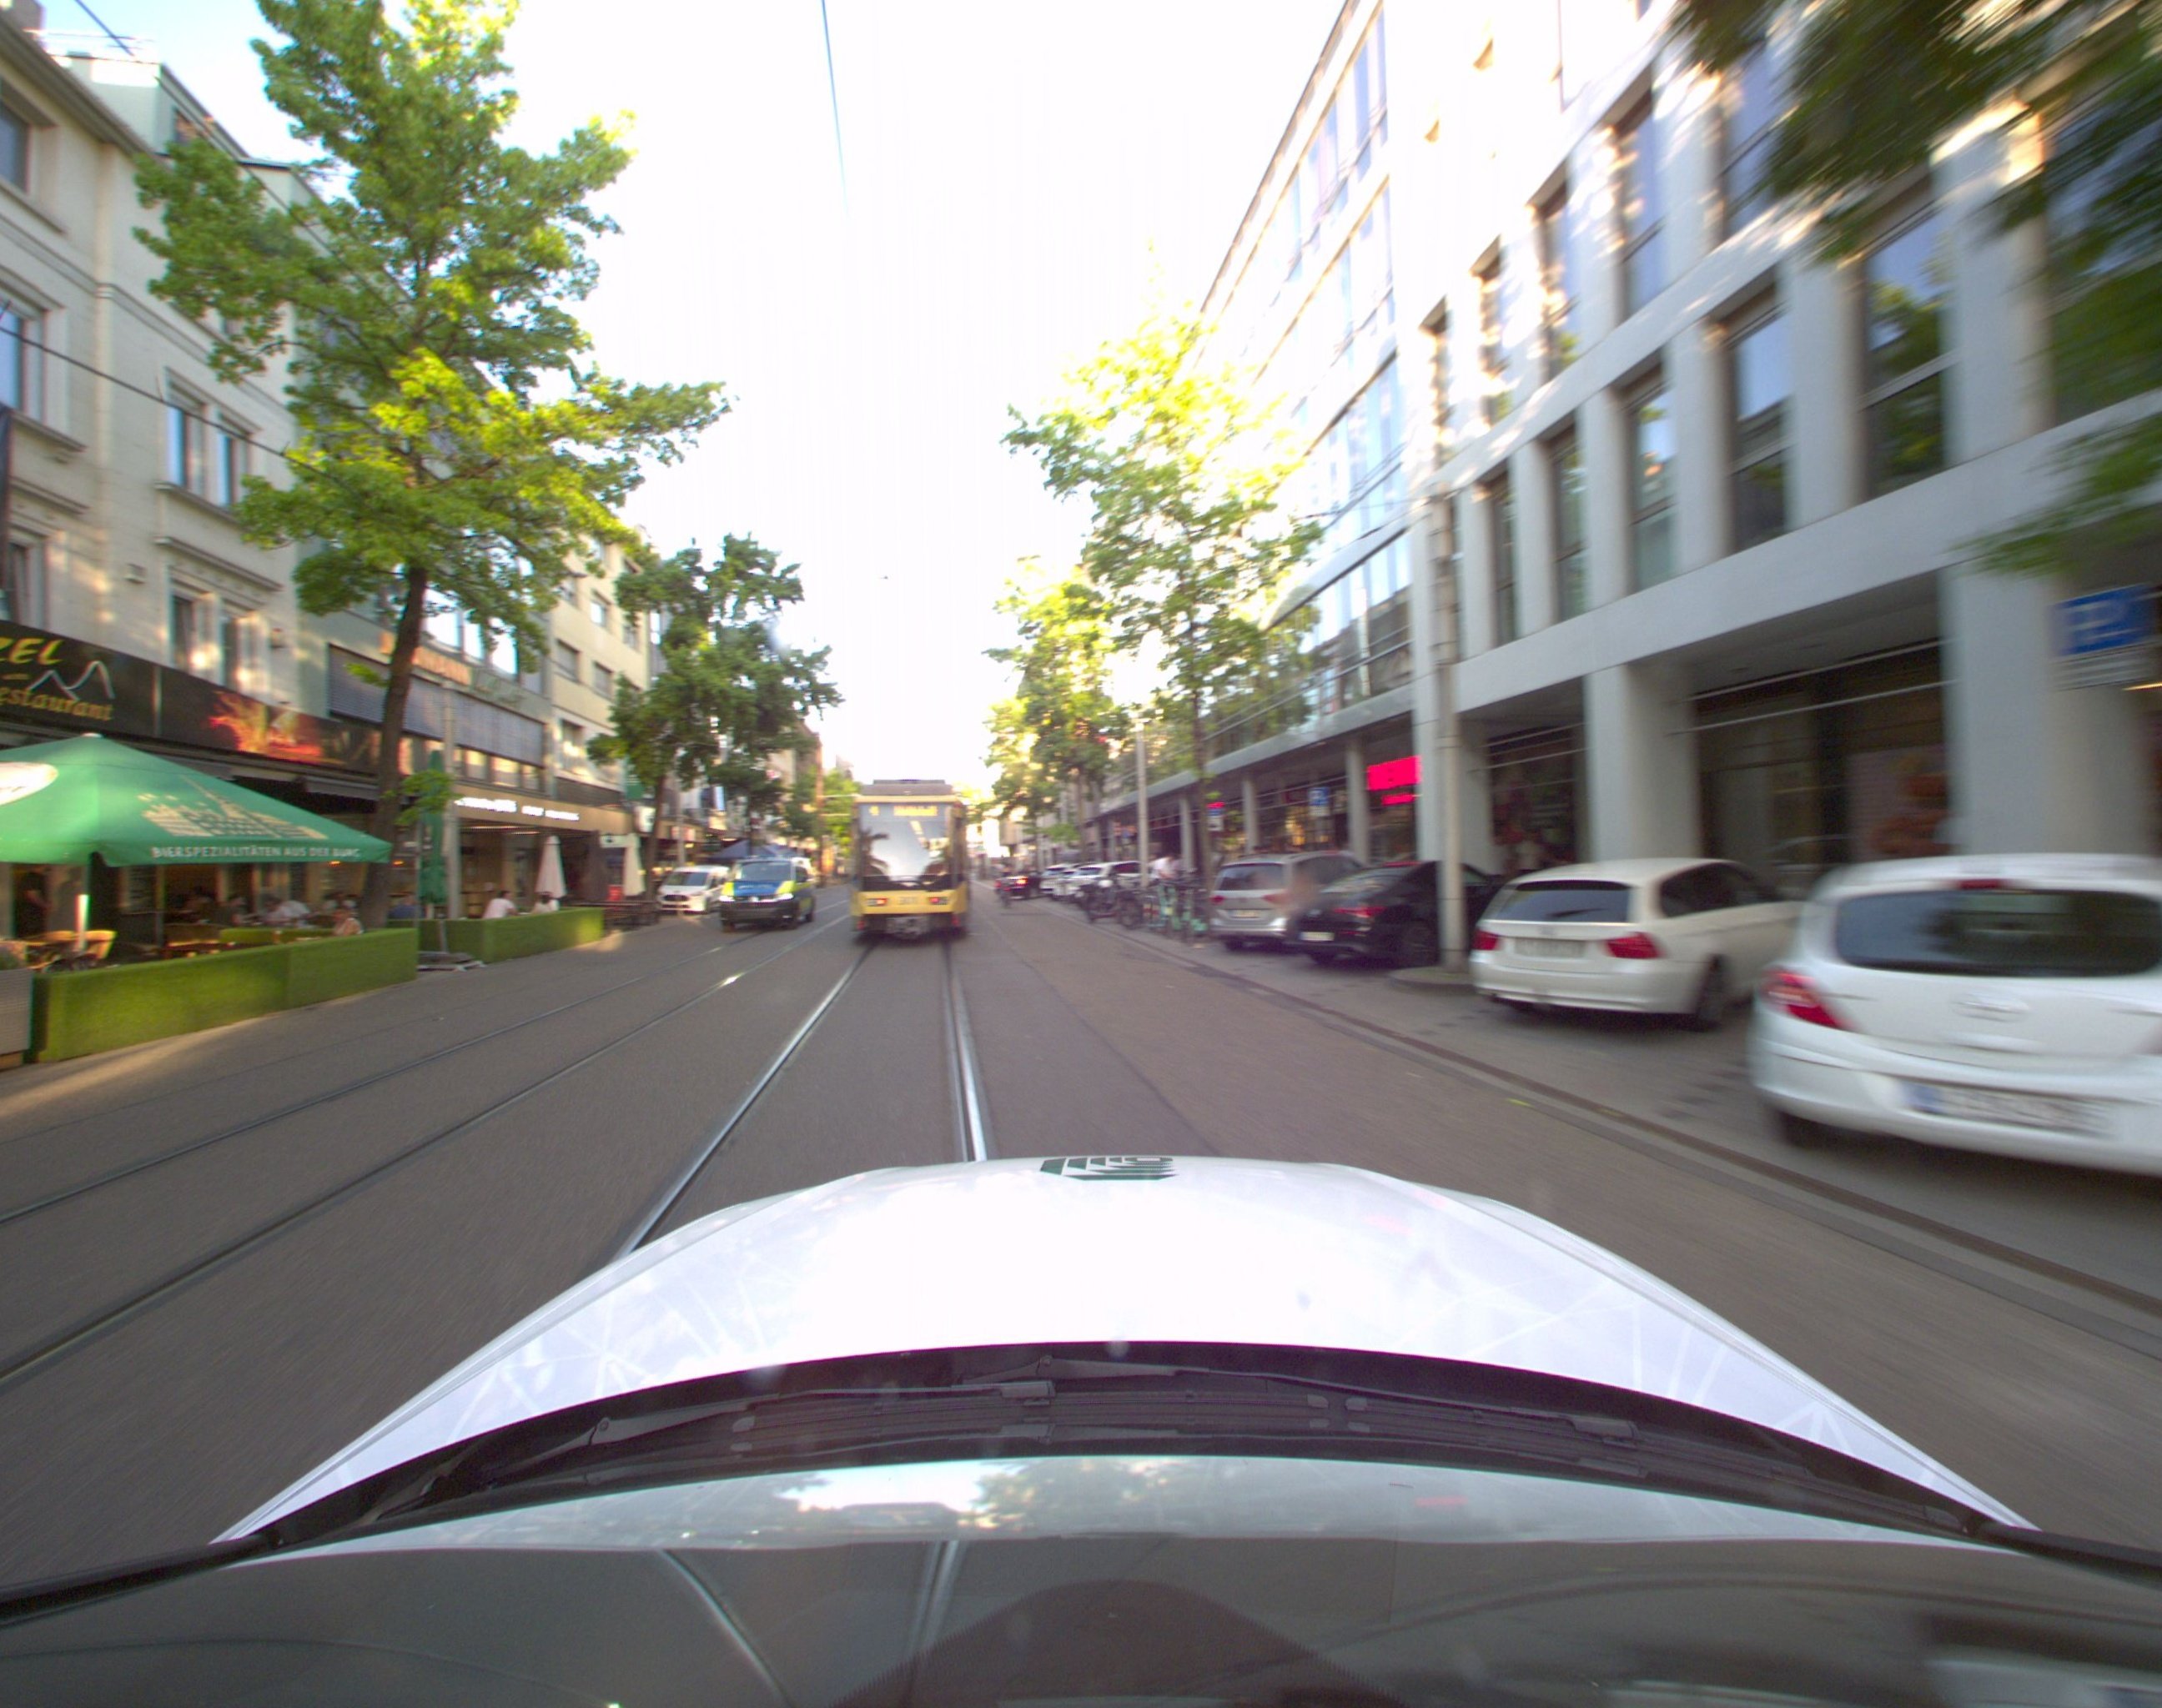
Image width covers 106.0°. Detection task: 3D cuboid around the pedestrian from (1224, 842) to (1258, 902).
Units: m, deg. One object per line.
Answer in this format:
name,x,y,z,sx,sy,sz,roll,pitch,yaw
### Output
pedestrian,4.954,0.555,25.215,0.782,1.812,0.664,-4,0,24

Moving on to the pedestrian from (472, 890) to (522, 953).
pedestrian,-12.983,1.492,18.119,0.644,1.346,0.728,-1,-2,-9

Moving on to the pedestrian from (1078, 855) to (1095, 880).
pedestrian,0.410,1.074,64.043,1.054,1.876,0.925,-4,1,-11

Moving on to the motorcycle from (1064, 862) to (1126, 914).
motorcycle,0.476,1.039,25.714,0.786,1.471,2.220,-3,1,35

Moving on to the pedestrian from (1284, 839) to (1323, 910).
pedestrian,5.681,0.520,20.855,0.727,1.754,0.717,-4,0,3

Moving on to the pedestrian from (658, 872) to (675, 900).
pedestrian,-21.109,1.630,41.501,0.609,1.434,0.510,1,-2,-8

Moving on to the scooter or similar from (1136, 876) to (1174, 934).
scooter or similar,1.644,1.114,18.272,0.482,1.222,1.210,-4,-1,-10

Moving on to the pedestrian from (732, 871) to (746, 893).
pedestrian,-19.622,1.607,46.704,0.603,1.256,0.559,1,-2,-9

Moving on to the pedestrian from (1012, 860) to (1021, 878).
pedestrian,-6.379,1.519,80.758,0.748,1.782,0.888,-1,-2,-8

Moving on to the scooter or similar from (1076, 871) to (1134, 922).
scooter or similar,0.641,1.141,22.105,1.375,1.304,0.701,-3,0,41

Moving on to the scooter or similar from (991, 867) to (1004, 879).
scooter or similar,-9.546,2.159,92.886,1.386,1.210,0.511,-2,-1,-25

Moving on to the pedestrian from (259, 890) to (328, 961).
pedestrian,-16.198,1.453,16.773,0.690,1.378,0.763,-1,-2,-10

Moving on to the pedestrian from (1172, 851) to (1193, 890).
pedestrian,4.475,0.728,35.897,0.662,1.699,0.802,-1,-2,-11

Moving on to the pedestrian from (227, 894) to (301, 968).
pedestrian,-15.458,1.440,15.435,0.654,1.331,0.763,-1,-2,-10

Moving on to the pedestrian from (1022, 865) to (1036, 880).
pedestrian,-4.821,1.724,75.648,1.112,1.328,0.923,-4,0,-10

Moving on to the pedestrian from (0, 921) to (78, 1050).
pedestrian,-10.870,1.329,8.304,0.585,1.236,0.542,-1,-1,-9

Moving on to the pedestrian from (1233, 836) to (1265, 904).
pedestrian,4.629,0.425,22.374,0.652,1.812,0.720,-4,0,19

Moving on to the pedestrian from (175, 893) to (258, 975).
pedestrian,-15.226,1.389,14.364,0.654,1.378,0.763,-1,-2,-10

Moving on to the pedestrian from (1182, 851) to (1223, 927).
pedestrian,2.725,0.762,18.271,0.785,1.625,0.771,-4,0,8

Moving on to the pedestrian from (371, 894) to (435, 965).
pedestrian,-12.704,1.393,15.271,0.708,1.265,0.598,-1,-2,-10

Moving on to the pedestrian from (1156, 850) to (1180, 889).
pedestrian,4.198,0.734,39.342,0.878,1.782,0.752,-4,0,-12

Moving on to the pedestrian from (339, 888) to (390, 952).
pedestrian,-15.909,1.447,18.100,0.605,1.378,0.646,-1,-2,-10

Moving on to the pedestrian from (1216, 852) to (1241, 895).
pedestrian,5.482,0.735,30.221,0.680,1.548,0.662,-1,-2,-12

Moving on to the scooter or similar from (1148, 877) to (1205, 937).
scooter or similar,2.059,1.119,17.506,0.492,1.182,1.341,-3,-1,42

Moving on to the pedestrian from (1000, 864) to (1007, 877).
pedestrian,-9.921,2.114,103.806,0.701,1.684,0.678,-4,0,-11

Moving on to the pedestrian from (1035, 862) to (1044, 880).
pedestrian,-3.796,1.572,74.480,0.701,1.637,0.643,-4,0,-11

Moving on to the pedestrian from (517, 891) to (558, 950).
pedestrian,-12.188,1.476,18.281,0.551,1.266,0.639,-1,-2,-10

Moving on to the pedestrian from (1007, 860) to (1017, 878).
pedestrian,-7.152,1.574,83.867,0.889,1.782,0.748,-1,-2,-13

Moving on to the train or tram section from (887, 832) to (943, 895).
train or tram section,-10.398,0.636,51.219,3.046,3.524,10.488,-1,-1,-11

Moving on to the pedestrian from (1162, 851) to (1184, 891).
pedestrian,3.959,0.747,35.046,0.680,1.699,0.802,-1,-2,-11

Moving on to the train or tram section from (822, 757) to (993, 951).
train or tram section,-4.212,0.074,20.238,3.018,3.524,10.328,-2,-1,-11

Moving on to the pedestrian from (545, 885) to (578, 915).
pedestrian,-19.457,1.720,30.538,0.778,1.095,0.726,1,-2,-11

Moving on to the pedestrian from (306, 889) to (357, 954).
pedestrian,-16.597,1.476,18.046,0.537,1.378,0.676,-1,-2,-10

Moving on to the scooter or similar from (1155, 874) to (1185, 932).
scooter or similar,2.029,1.096,18.642,0.565,1.205,1.283,-4,0,4

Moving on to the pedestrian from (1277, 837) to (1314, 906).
pedestrian,5.804,0.464,22.086,0.657,1.812,0.715,-4,0,-6

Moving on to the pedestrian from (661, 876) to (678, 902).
pedestrian,-20.218,1.706,40.025,0.511,1.242,0.658,1,-2,-11

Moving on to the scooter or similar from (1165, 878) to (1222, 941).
scooter or similar,2.329,1.121,16.718,0.572,1.150,1.410,-3,0,33

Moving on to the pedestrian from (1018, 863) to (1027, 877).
pedestrian,-5.785,1.572,81.122,0.740,1.328,0.718,-4,1,-10

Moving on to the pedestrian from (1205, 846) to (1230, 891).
pedestrian,5.178,0.537,31.009,0.680,1.699,0.802,-1,0,-11

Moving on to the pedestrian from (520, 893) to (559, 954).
pedestrian,-12.744,1.618,19.168,0.579,1.378,0.562,-1,-2,-10

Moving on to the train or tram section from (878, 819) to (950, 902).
train or tram section,-8.320,0.379,40.781,3.005,3.524,10.801,-2,-1,-11

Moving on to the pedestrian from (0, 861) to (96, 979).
pedestrian,-16.084,1.001,12.703,0.658,1.766,0.758,0,-2,-29

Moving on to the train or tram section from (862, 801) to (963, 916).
train or tram section,-6.244,0.218,30.392,3.009,3.524,10.360,-1,-1,-11

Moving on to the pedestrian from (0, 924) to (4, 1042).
pedestrian,-11.475,1.341,8.204,0.543,1.218,0.509,-1,-1,-9

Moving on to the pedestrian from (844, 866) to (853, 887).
pedestrian,-21.429,2.079,75.082,0.752,1.880,0.573,1,-2,-15
